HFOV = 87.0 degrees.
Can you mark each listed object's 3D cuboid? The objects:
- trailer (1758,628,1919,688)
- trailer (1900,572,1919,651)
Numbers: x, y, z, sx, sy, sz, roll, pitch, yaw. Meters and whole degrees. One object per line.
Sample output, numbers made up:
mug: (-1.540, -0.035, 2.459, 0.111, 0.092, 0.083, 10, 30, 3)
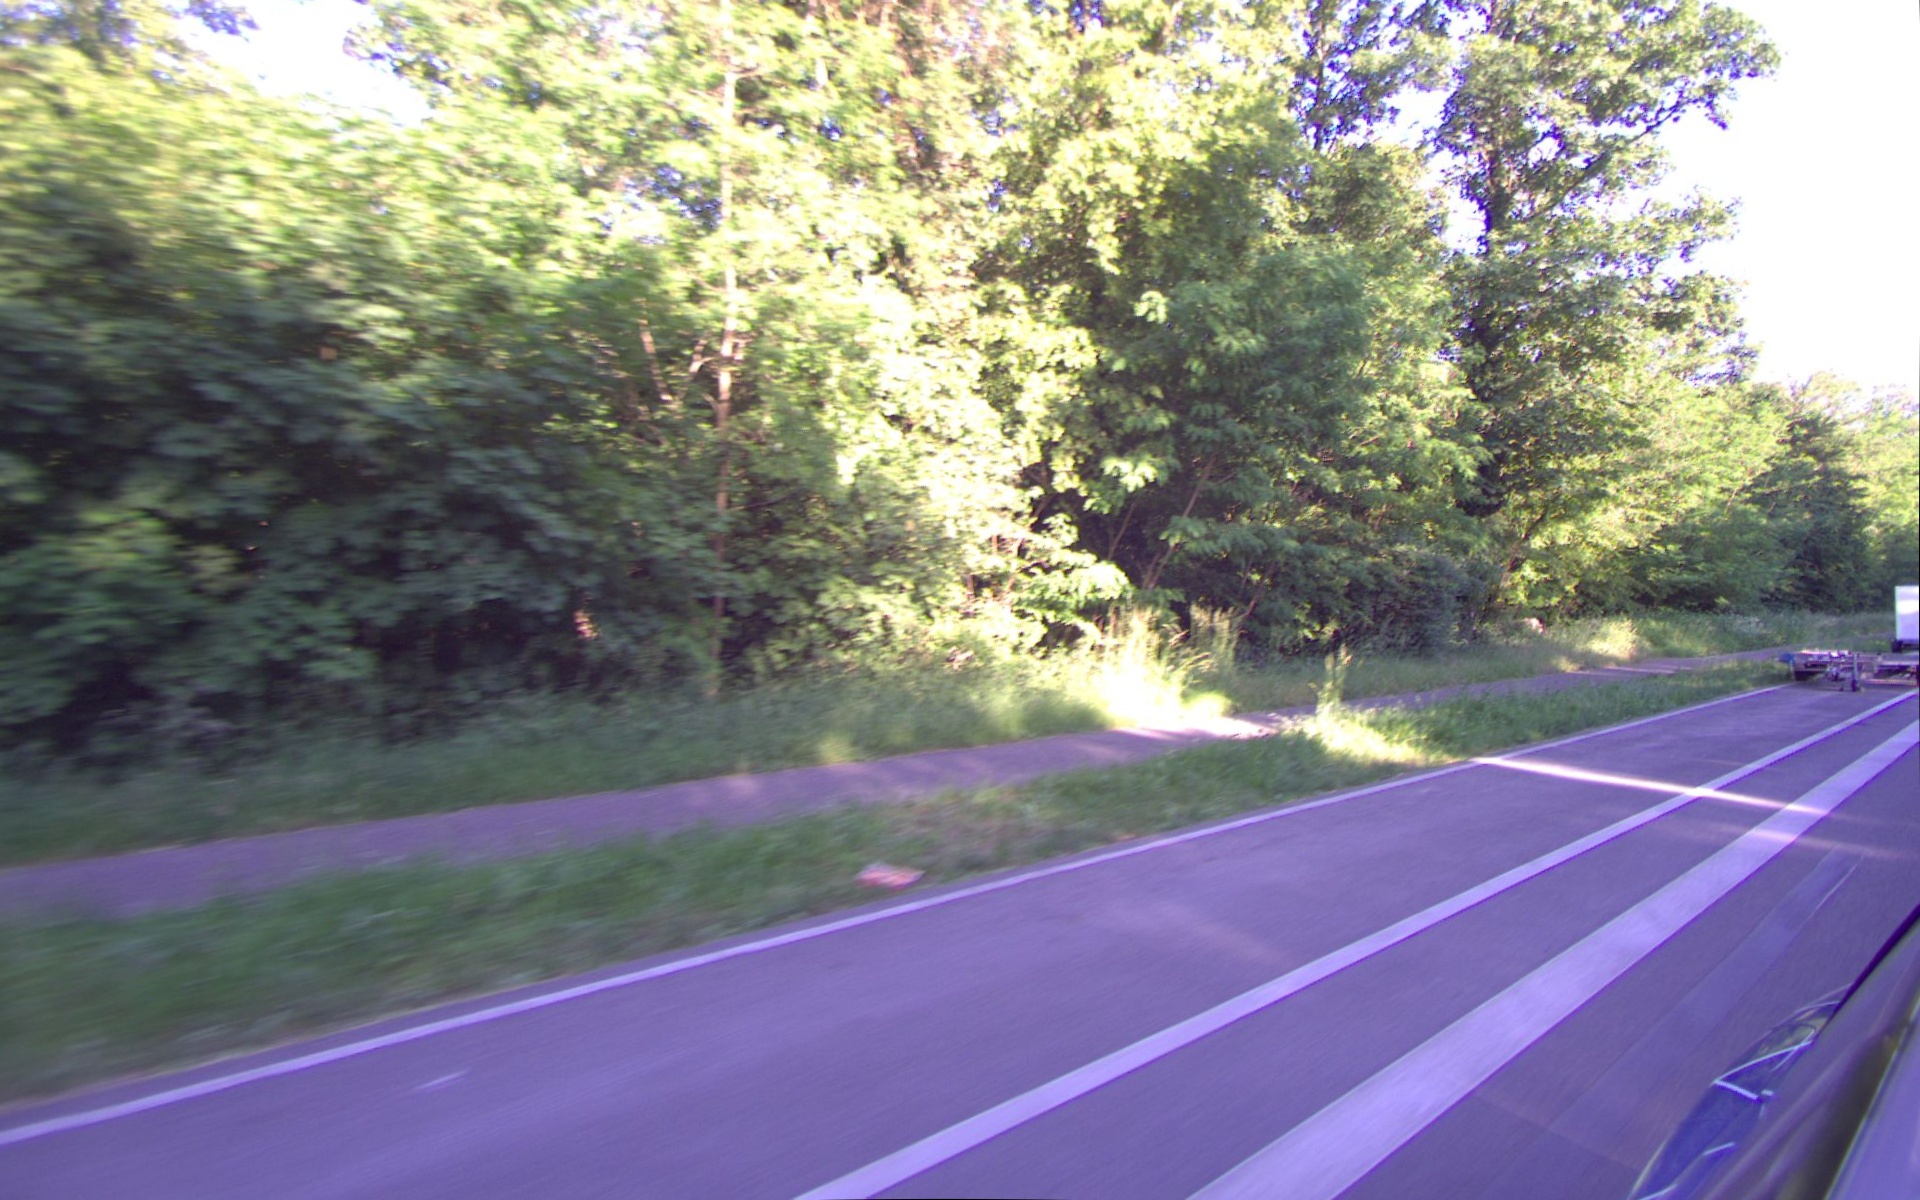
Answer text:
trailer: (17.627, 1.046, 19.602, 5.561, 0.808, 2.437, -1, 1, -41)
trailer: (28.485, 0.330, 29.156, 3.479, 2.189, 1.756, 0, 1, -42)
